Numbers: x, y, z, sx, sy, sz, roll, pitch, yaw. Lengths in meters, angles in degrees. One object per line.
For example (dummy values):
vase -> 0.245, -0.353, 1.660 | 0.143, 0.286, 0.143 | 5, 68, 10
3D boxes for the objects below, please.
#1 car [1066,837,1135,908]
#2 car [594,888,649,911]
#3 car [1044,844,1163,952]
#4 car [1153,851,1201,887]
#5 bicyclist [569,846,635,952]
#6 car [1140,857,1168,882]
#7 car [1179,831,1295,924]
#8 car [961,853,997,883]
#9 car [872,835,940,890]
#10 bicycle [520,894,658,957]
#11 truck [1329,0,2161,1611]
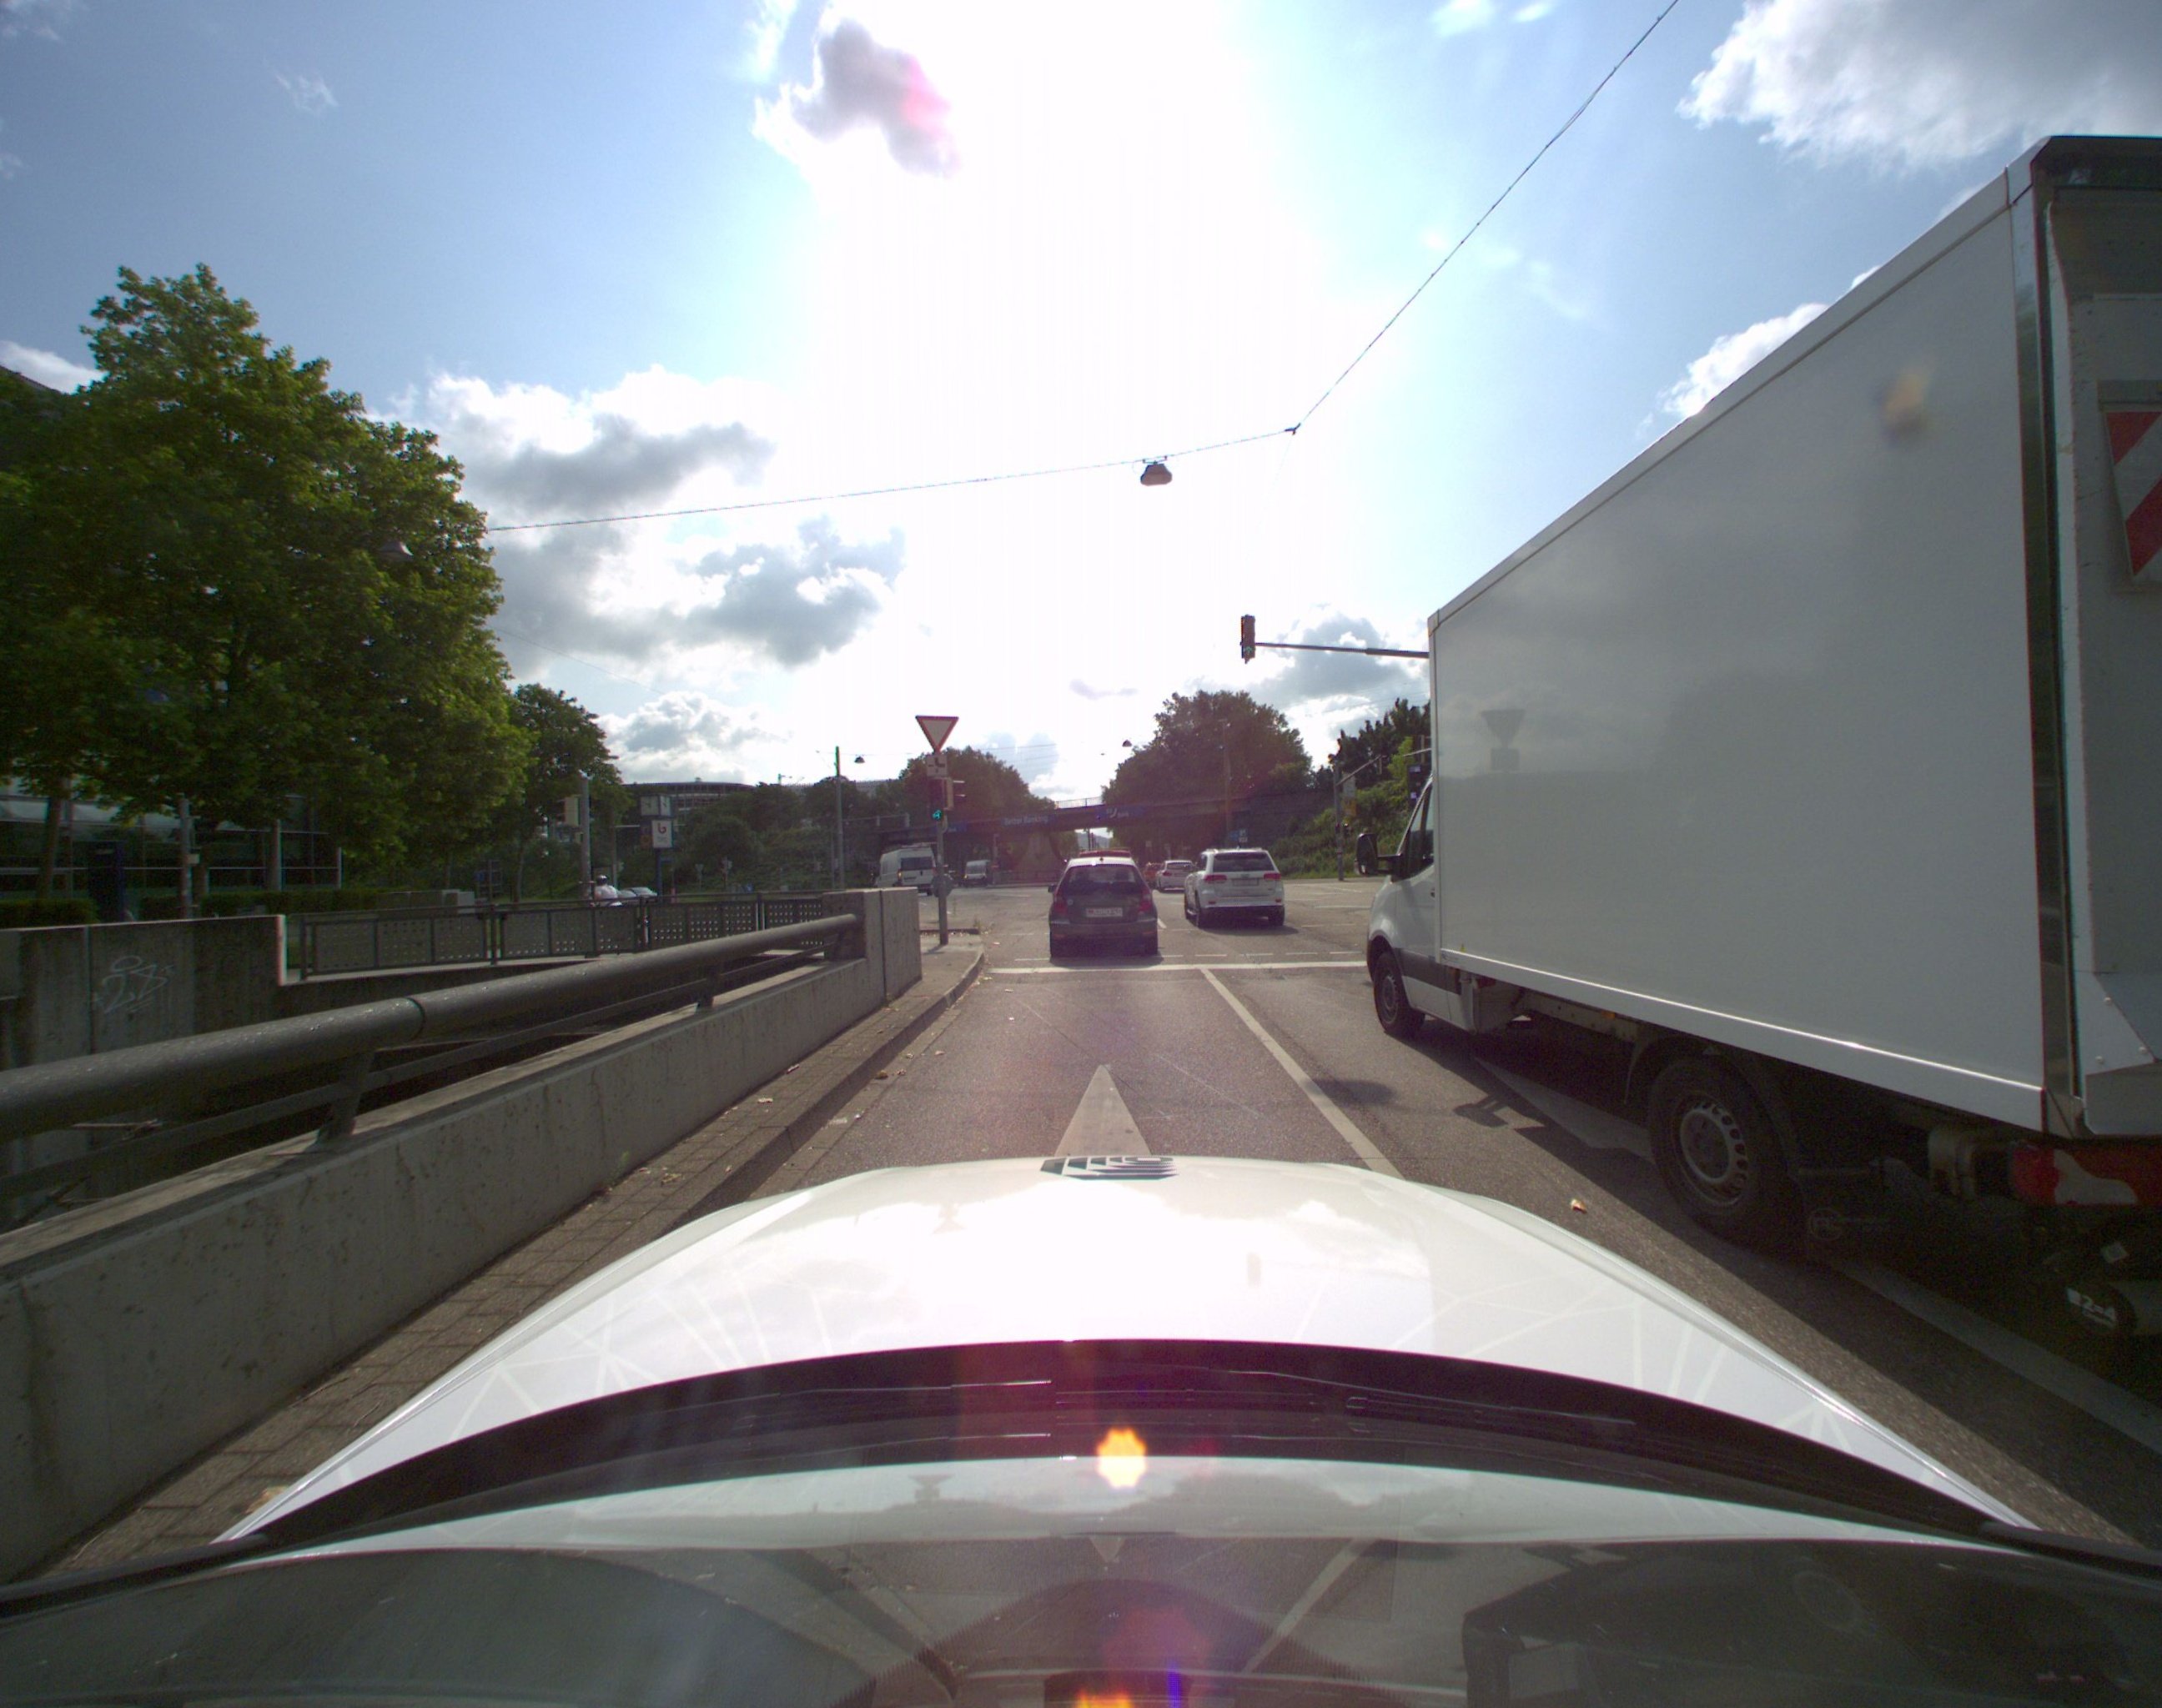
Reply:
car -> 0.659, 0.518, 25.992 | 1.948, 2.016, 4.679 | -2, 1, 2
car -> -33.565, 3.310, 59.450 | 4.509, 1.574, 1.883 | -2, -1, 38
car -> 0.412, 0.684, 14.365 | 1.785, 1.608, 3.800 | -1, 0, 2
car -> 4.338, 0.680, 37.346 | 1.845, 1.521, 3.618 | -2, -1, 2
bicyclist -> -9.649, 0.893, 16.437 | 0.728, 2.013, 0.602 | -6, 2, -5
car -> 4.659, 0.982, 52.478 | 1.538, 1.521, 3.618 | -2, -1, 2
car -> 3.554, 0.503, 19.374 | 1.987, 1.901, 4.511 | -2, 0, 2
car -> -9.539, 1.289, 76.926 | 2.248, 2.526, 5.631 | -3, 0, 3
car -> -9.391, 0.461, 43.340 | 2.210, 2.726, 4.886 | -1, -1, -28
bicycle -> -9.824, 1.411, 16.334 | 2.171, 1.086, 0.885 | -3, -3, -6
truck -> 3.400, -0.139, 4.396 | 2.437, 3.121, 6.032 | -2, 0, 2
